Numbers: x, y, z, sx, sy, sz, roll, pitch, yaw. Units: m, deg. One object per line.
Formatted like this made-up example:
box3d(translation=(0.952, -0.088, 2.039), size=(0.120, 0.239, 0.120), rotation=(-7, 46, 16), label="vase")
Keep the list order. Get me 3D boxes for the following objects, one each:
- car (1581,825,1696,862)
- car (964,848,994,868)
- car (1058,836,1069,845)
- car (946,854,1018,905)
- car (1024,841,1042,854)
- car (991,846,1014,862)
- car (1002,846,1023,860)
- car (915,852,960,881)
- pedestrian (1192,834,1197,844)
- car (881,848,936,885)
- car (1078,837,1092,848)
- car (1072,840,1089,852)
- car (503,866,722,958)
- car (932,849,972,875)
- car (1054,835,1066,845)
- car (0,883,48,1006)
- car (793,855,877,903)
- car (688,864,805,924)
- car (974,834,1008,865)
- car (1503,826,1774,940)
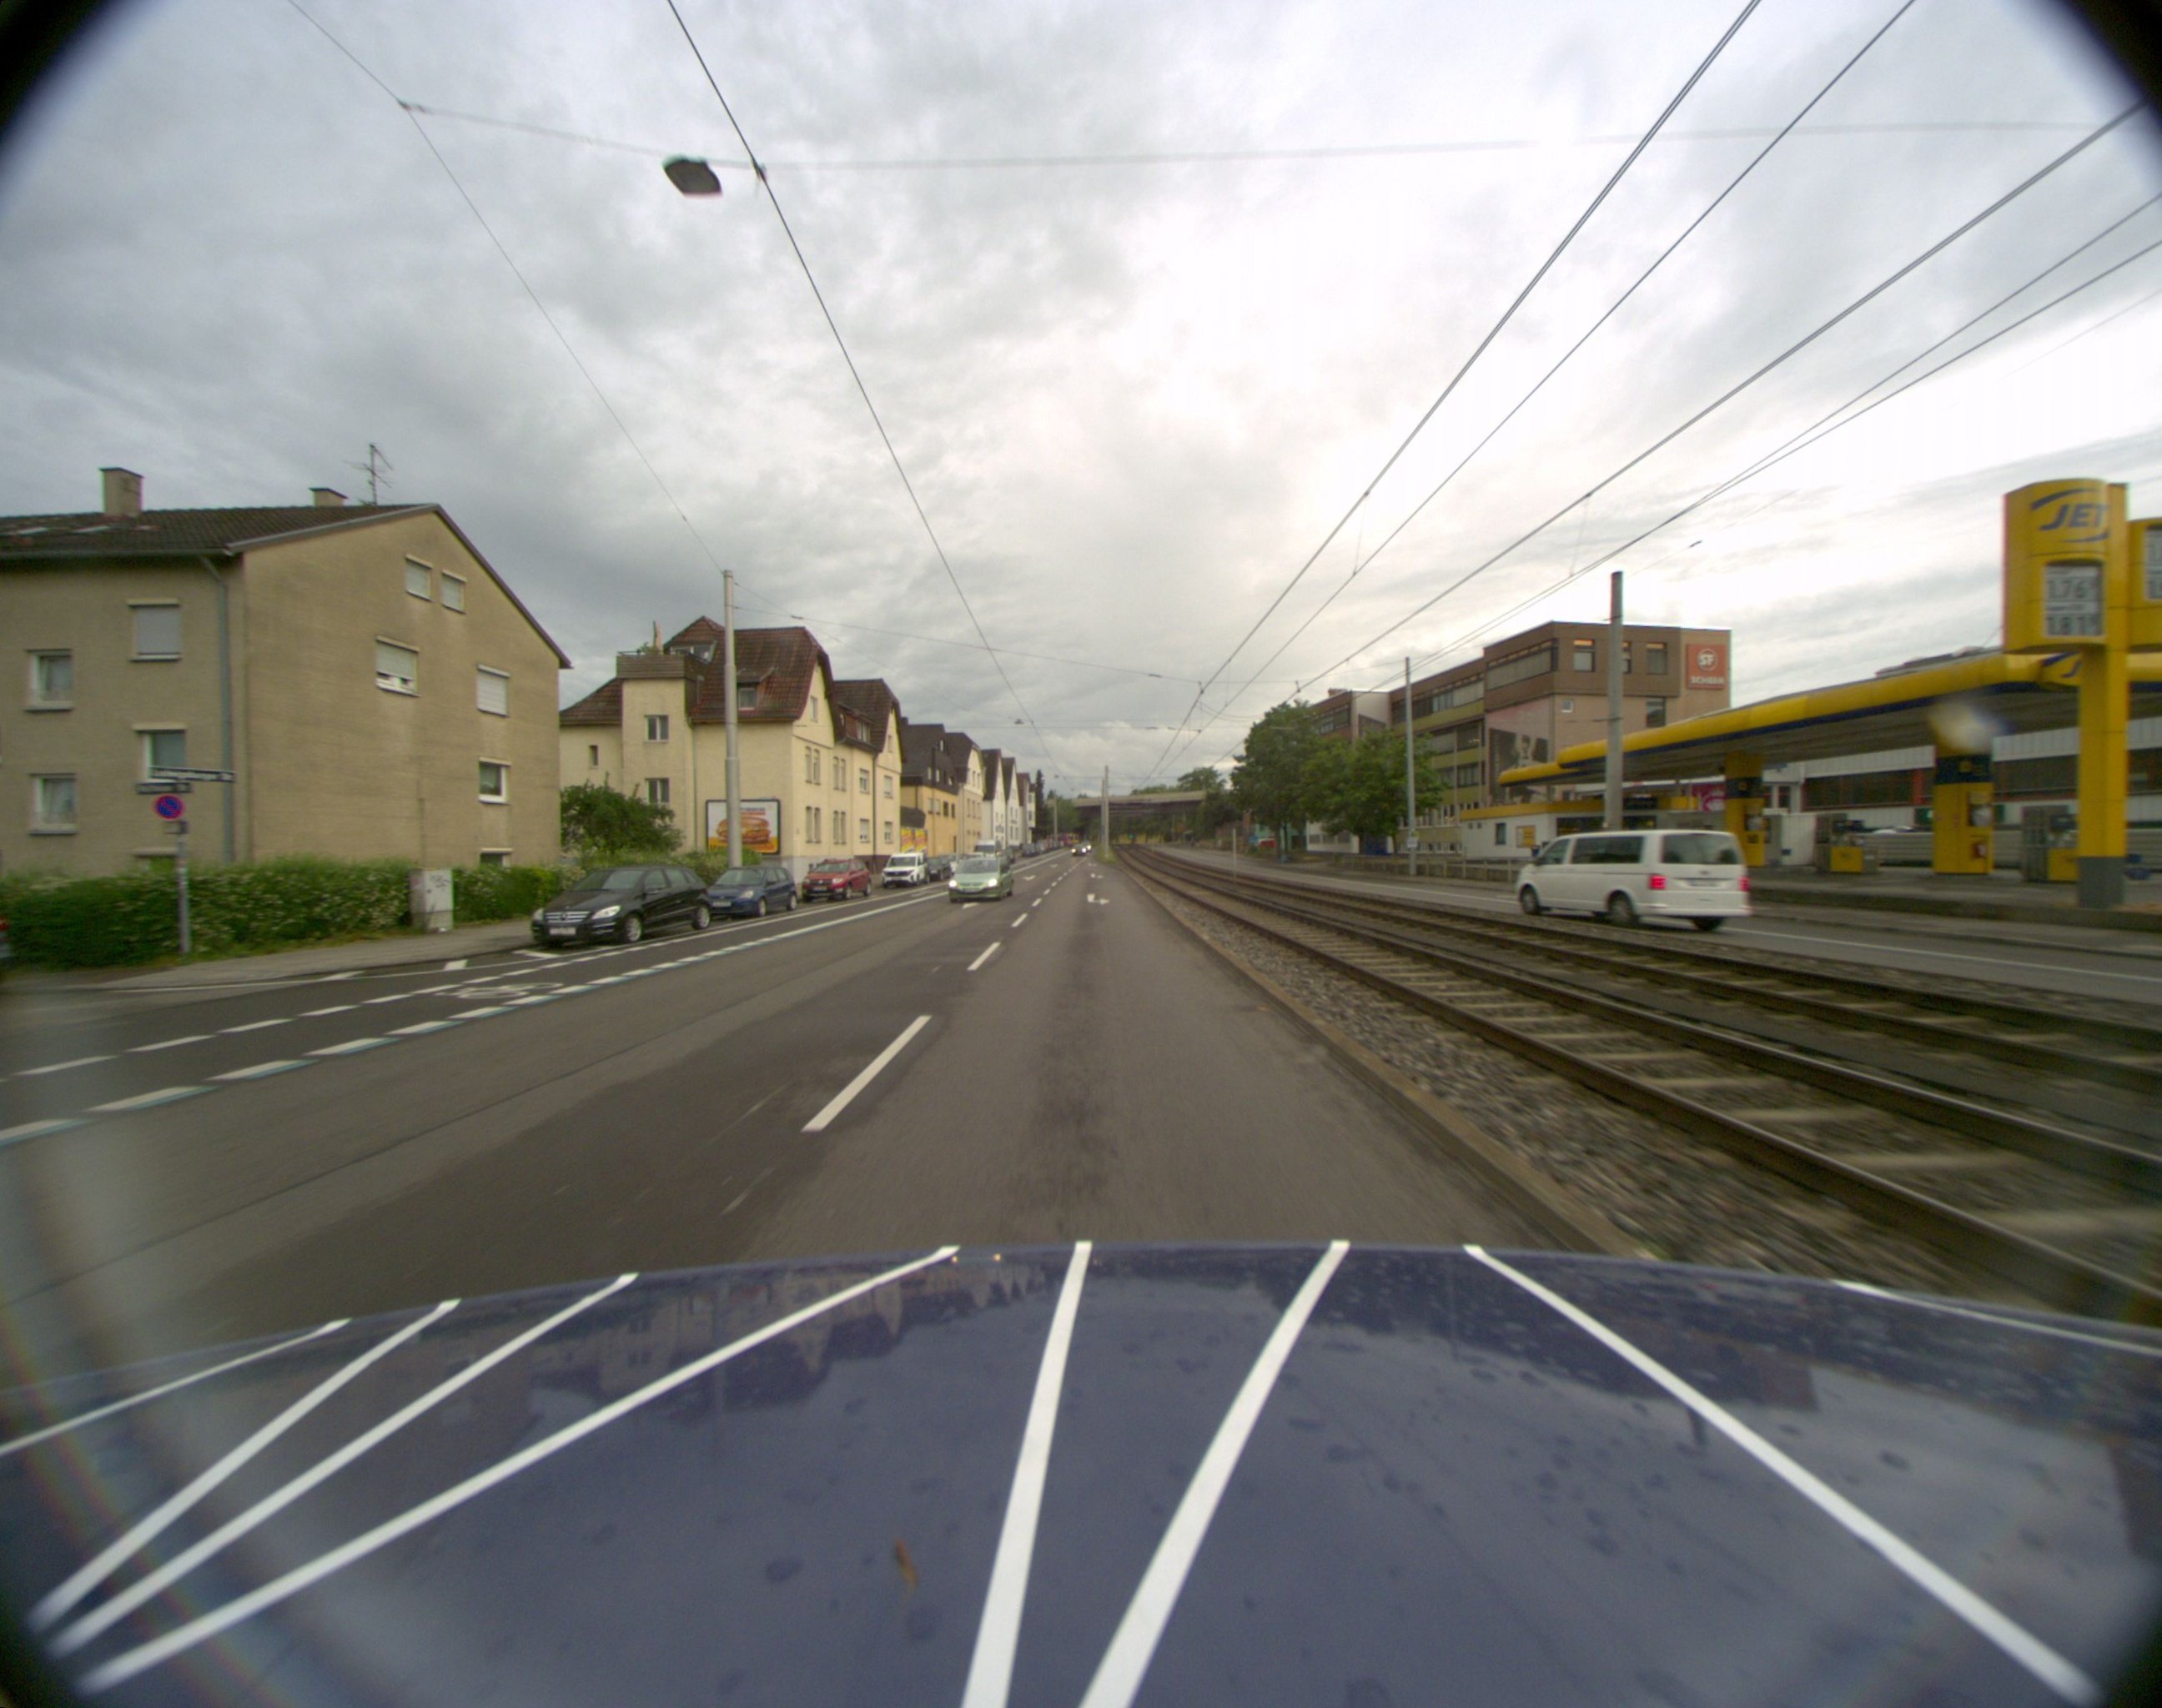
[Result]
box3d(translation=(23.461, -0.455, 32.201), size=(1.775, 1.408, 4.073), rotation=(-2, 2, -2), label="car")
box3d(translation=(-8.172, 0.296, 61.223), size=(1.605, 1.456, 4.200), rotation=(-2, 1, 2), label="car")
box3d(translation=(-3.203, -2.555, 142.417), size=(1.726, 1.539, 4.200), rotation=(-2, 2, 3), label="car")
box3d(translation=(-3.397, 0.836, 26.819), size=(1.888, 1.441, 4.199), rotation=(-2, 2, 0), label="car")
box3d(translation=(-6.196, -0.863, 98.562), size=(1.726, 1.539, 4.200), rotation=(-2, 2, 3), label="car")
box3d(translation=(-7.562, 0.017, 73.742), size=(1.726, 1.338, 4.083), rotation=(-2, 2, 0), label="car")
box3d(translation=(-7.165, -0.134, 80.071), size=(1.726, 1.338, 4.199), rotation=(-2, 2, 0), label="car")
box3d(translation=(-8.560, 0.696, 45.517), size=(1.690, 1.503, 4.137), rotation=(-2, 1, 2), label="car")
box3d(translation=(19.509, -2.568, 130.752), size=(0.747, 1.636, 1.021), rotation=(-1, 2, 2), label="pedestrian")
box3d(translation=(-8.988, 0.602, 39.981), size=(1.852, 1.746, 4.520), rotation=(-2, 1, -1), label="car")
box3d(translation=(0.599, -1.635, 110.351), size=(1.888, 1.417, 4.199), rotation=(-2, 2, 0), label="car")
box3d(translation=(-0.064, -0.997, 94.247), size=(1.887, 1.417, 4.200), rotation=(-2, 2, 2), label="car")
box3d(translation=(-9.696, 1.113, 16.243), size=(1.841, 1.524, 4.438), rotation=(-2, 1, 0), label="car")
box3d(translation=(-8.634, 0.498, 51.262), size=(1.705, 1.557, 4.281), rotation=(-2, 2, 2), label="car")
box3d(translation=(-3.788, -2.513, 136.646), size=(1.726, 1.539, 4.200), rotation=(-2, 2, 3), label="car")
box3d(translation=(-16.978, 1.404, 10.017), size=(4.283, 1.646, 1.879), rotation=(-4, 2, 4), label="car")
box3d(translation=(-9.568, 0.918, 29.895), size=(1.841, 1.619, 4.098), rotation=(-2, 1, 1), label="car")
box3d(translation=(-9.676, 1.089, 22.338), size=(1.671, 1.435, 3.928), rotation=(-2, 1, -1), label="car")
box3d(translation=(-7.888, -0.416, 66.894), size=(2.045, 2.485, 5.919), rotation=(-2, 2, 1), label="car")
box3d(translation=(11.472, 0.510, 16.247), size=(1.999, 2.002, 5.059), rotation=(2, 0, 0), label="car")
